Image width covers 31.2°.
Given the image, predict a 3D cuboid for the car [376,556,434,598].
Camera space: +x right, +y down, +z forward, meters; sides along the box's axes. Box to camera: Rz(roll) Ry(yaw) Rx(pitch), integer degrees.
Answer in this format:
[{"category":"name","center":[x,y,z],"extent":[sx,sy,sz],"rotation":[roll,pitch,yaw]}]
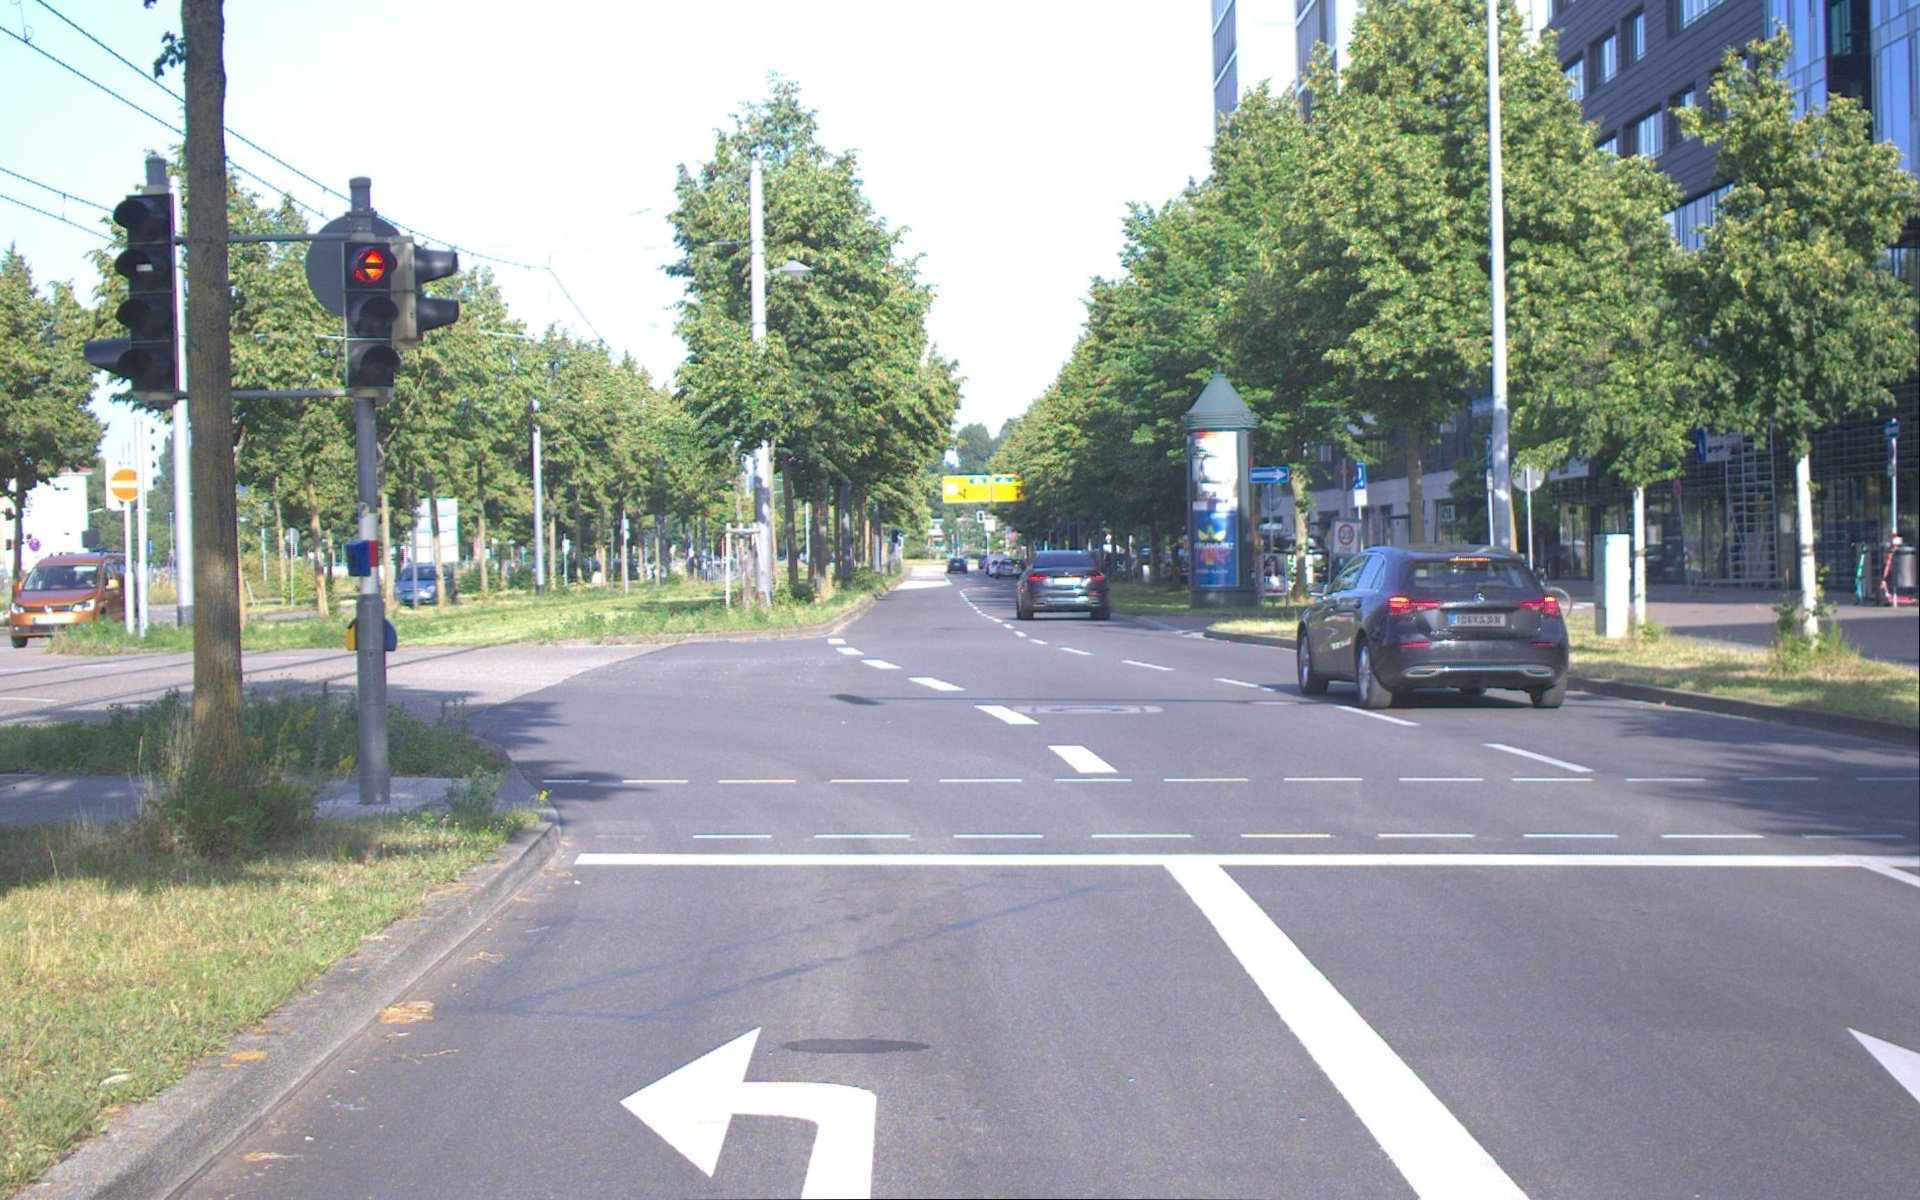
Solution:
[{"category":"car","center":[-19.578,-0.806,121.381],"extent":[1.638,1.438,3.957],"rotation":[1,0,-4]}]

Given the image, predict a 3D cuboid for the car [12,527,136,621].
[{"category":"car","center":[-17.365,-0.513,67.525],"extent":[1.684,1.769,3.883],"rotation":[1,0,-4]}]

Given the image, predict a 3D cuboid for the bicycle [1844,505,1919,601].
[{"category":"bicycle","center":[18.643,-0.916,67.227],"extent":[2.565,1.851,0.569],"rotation":[1,0,9]}]

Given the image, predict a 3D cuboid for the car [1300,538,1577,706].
[{"category":"car","center":[4.289,0.168,31.386],"extent":[1.774,1.419,3.961],"rotation":[1,0,-3]}]

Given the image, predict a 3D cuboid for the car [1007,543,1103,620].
[{"category":"car","center":[1.935,-0.395,70.935],"extent":[1.859,1.519,3.786],"rotation":[1,0,0]}]

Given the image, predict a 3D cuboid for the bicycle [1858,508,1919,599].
[{"category":"bicycle","center":[18.543,-0.890,66.082],"extent":[2.436,1.740,0.554],"rotation":[1,0,9]}]
